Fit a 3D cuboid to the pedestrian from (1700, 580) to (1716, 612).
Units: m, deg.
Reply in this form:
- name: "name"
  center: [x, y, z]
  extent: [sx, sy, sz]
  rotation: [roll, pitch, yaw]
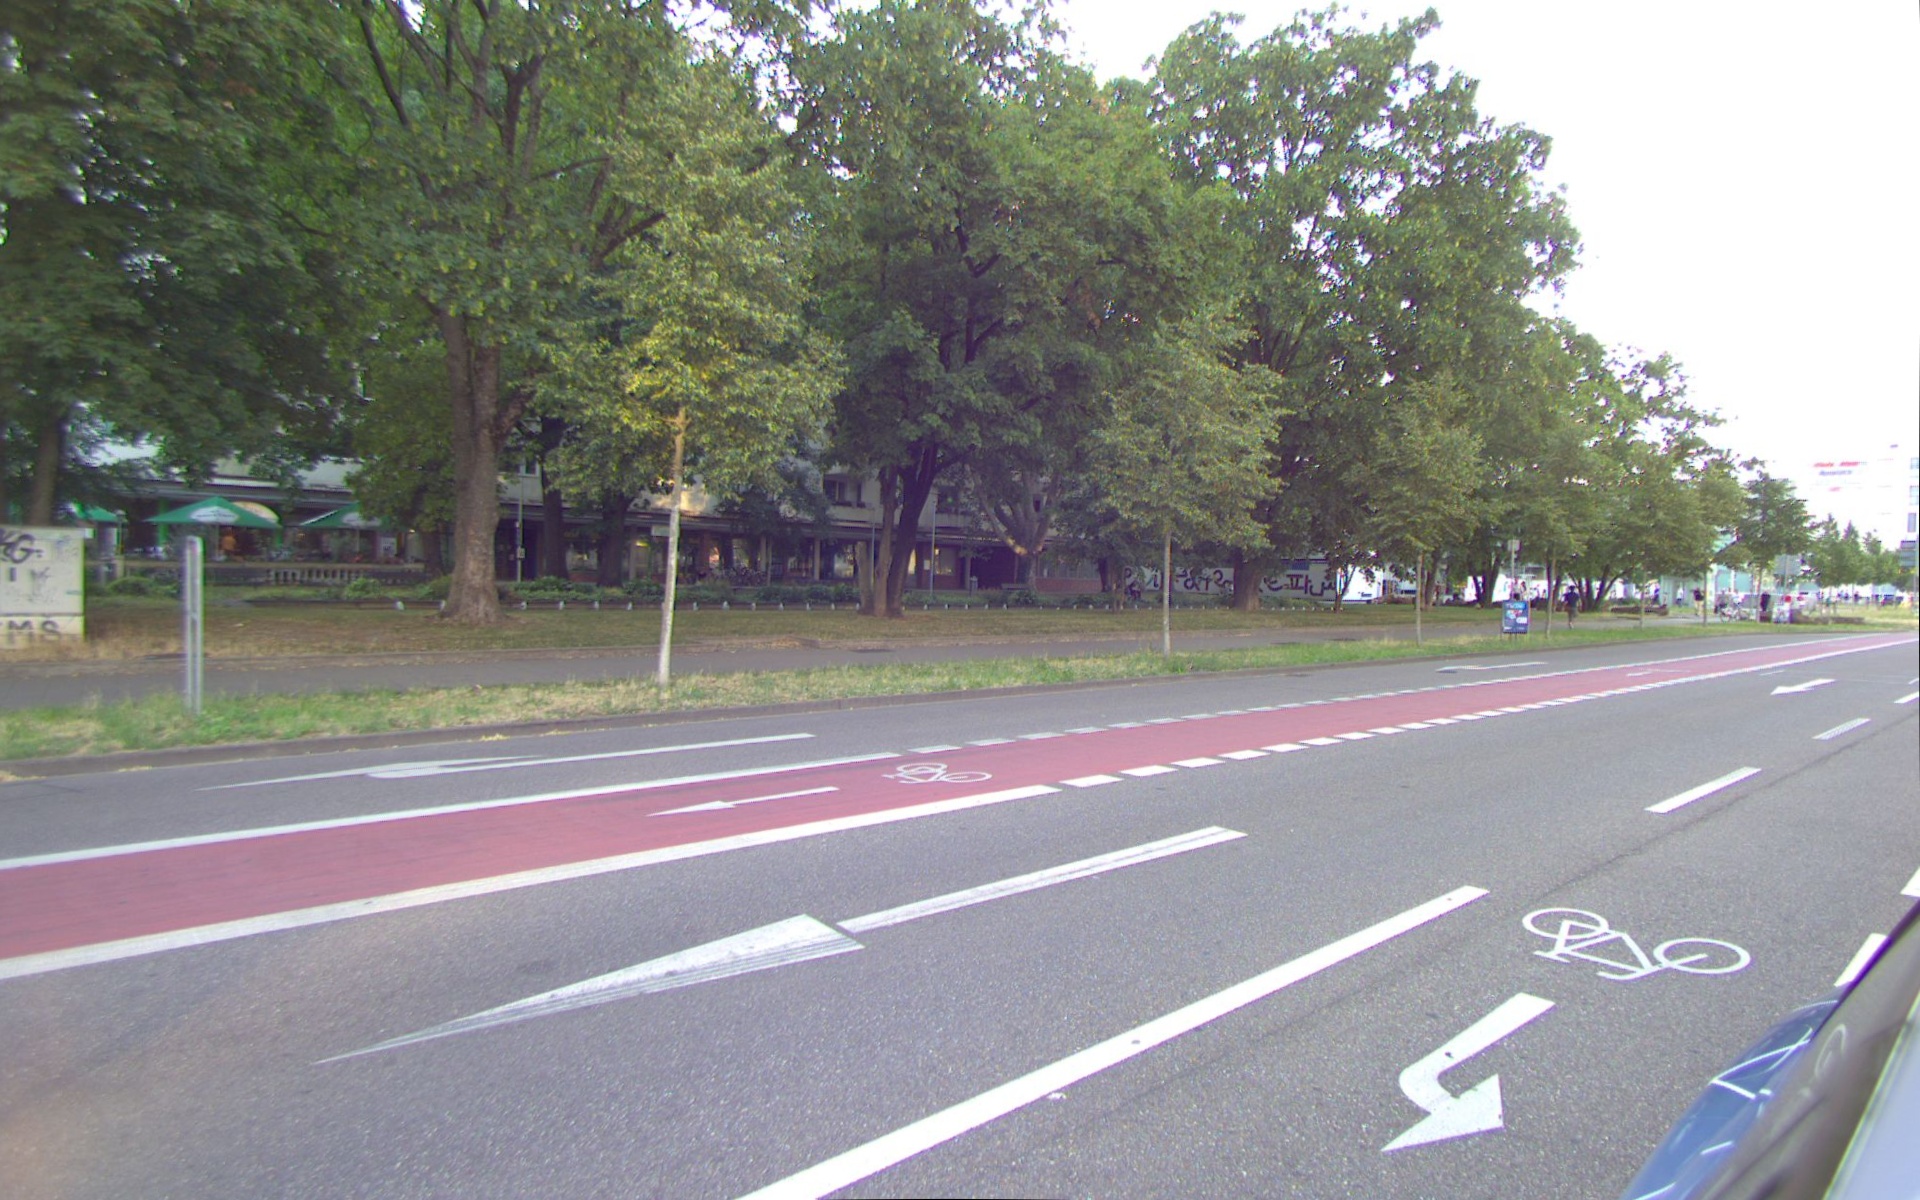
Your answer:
- name: "pedestrian"
  center: [42.198, -0.220, 57.083]
  extent: [0.707, 1.751, 0.508]
  rotation: [0, 2, -40]

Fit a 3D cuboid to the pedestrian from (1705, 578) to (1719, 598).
- name: "pedestrian"
  center: [52.995, -0.834, 71.280]
  extent: [0.496, 1.371, 0.654]
  rotation: [0, 2, -40]

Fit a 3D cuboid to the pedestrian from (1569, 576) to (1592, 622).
- name: "pedestrian"
  center: [23.880, -0.050, 38.926]
  extent: [0.546, 1.760, 0.558]
  rotation: [0, 2, -41]

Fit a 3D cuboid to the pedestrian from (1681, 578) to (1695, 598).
- name: "pedestrian"
  center: [52.022, -0.850, 72.344]
  extent: [0.550, 1.371, 0.662]
  rotation: [0, 2, -40]

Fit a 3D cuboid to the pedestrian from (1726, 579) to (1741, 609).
- name: "pedestrian"
  center: [45.909, -0.338, 60.077]
  extent: [0.707, 1.751, 0.519]
  rotation: [0, 2, -40]

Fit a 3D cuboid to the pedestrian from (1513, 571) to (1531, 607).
- name: "pedestrian"
  center: [25.218, -0.488, 45.442]
  extent: [0.513, 1.621, 0.500]
  rotation: [0, 2, -41]

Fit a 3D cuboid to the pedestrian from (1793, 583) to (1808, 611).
- name: "pedestrian"
  center: [55.234, -0.216, 66.506]
  extent: [0.497, 1.779, 0.638]
  rotation: [0, 2, -40]

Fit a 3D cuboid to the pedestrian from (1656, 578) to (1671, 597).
- name: "pedestrian"
  center: [50.768, -0.894, 73.029]
  extent: [0.604, 1.371, 0.728]
  rotation: [0, 2, -40]

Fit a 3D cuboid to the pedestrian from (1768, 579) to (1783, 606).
- name: "pedestrian"
  center: [54.536, -0.473, 67.710]
  extent: [0.497, 1.779, 0.638]
  rotation: [0, 2, -40]

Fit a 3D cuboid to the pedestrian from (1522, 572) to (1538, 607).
- name: "pedestrian"
  center: [26.141, -0.485, 46.381]
  extent: [0.359, 1.621, 0.500]
  rotation: [1, 2, -40]

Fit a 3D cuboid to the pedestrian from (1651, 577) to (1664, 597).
- name: "pedestrian"
  center: [49.327, -0.893, 71.572]
  extent: [0.759, 1.371, 0.519]
  rotation: [0, 2, -41]

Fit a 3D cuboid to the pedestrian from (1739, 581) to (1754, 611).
- name: "pedestrian"
  center: [46.127, -0.227, 59.335]
  extent: [0.707, 1.751, 0.508]
  rotation: [0, 2, -40]

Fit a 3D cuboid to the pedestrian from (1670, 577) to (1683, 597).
- name: "pedestrian"
  center: [50.181, -0.895, 70.906]
  extent: [0.759, 1.371, 0.519]
  rotation: [0, 2, -41]
